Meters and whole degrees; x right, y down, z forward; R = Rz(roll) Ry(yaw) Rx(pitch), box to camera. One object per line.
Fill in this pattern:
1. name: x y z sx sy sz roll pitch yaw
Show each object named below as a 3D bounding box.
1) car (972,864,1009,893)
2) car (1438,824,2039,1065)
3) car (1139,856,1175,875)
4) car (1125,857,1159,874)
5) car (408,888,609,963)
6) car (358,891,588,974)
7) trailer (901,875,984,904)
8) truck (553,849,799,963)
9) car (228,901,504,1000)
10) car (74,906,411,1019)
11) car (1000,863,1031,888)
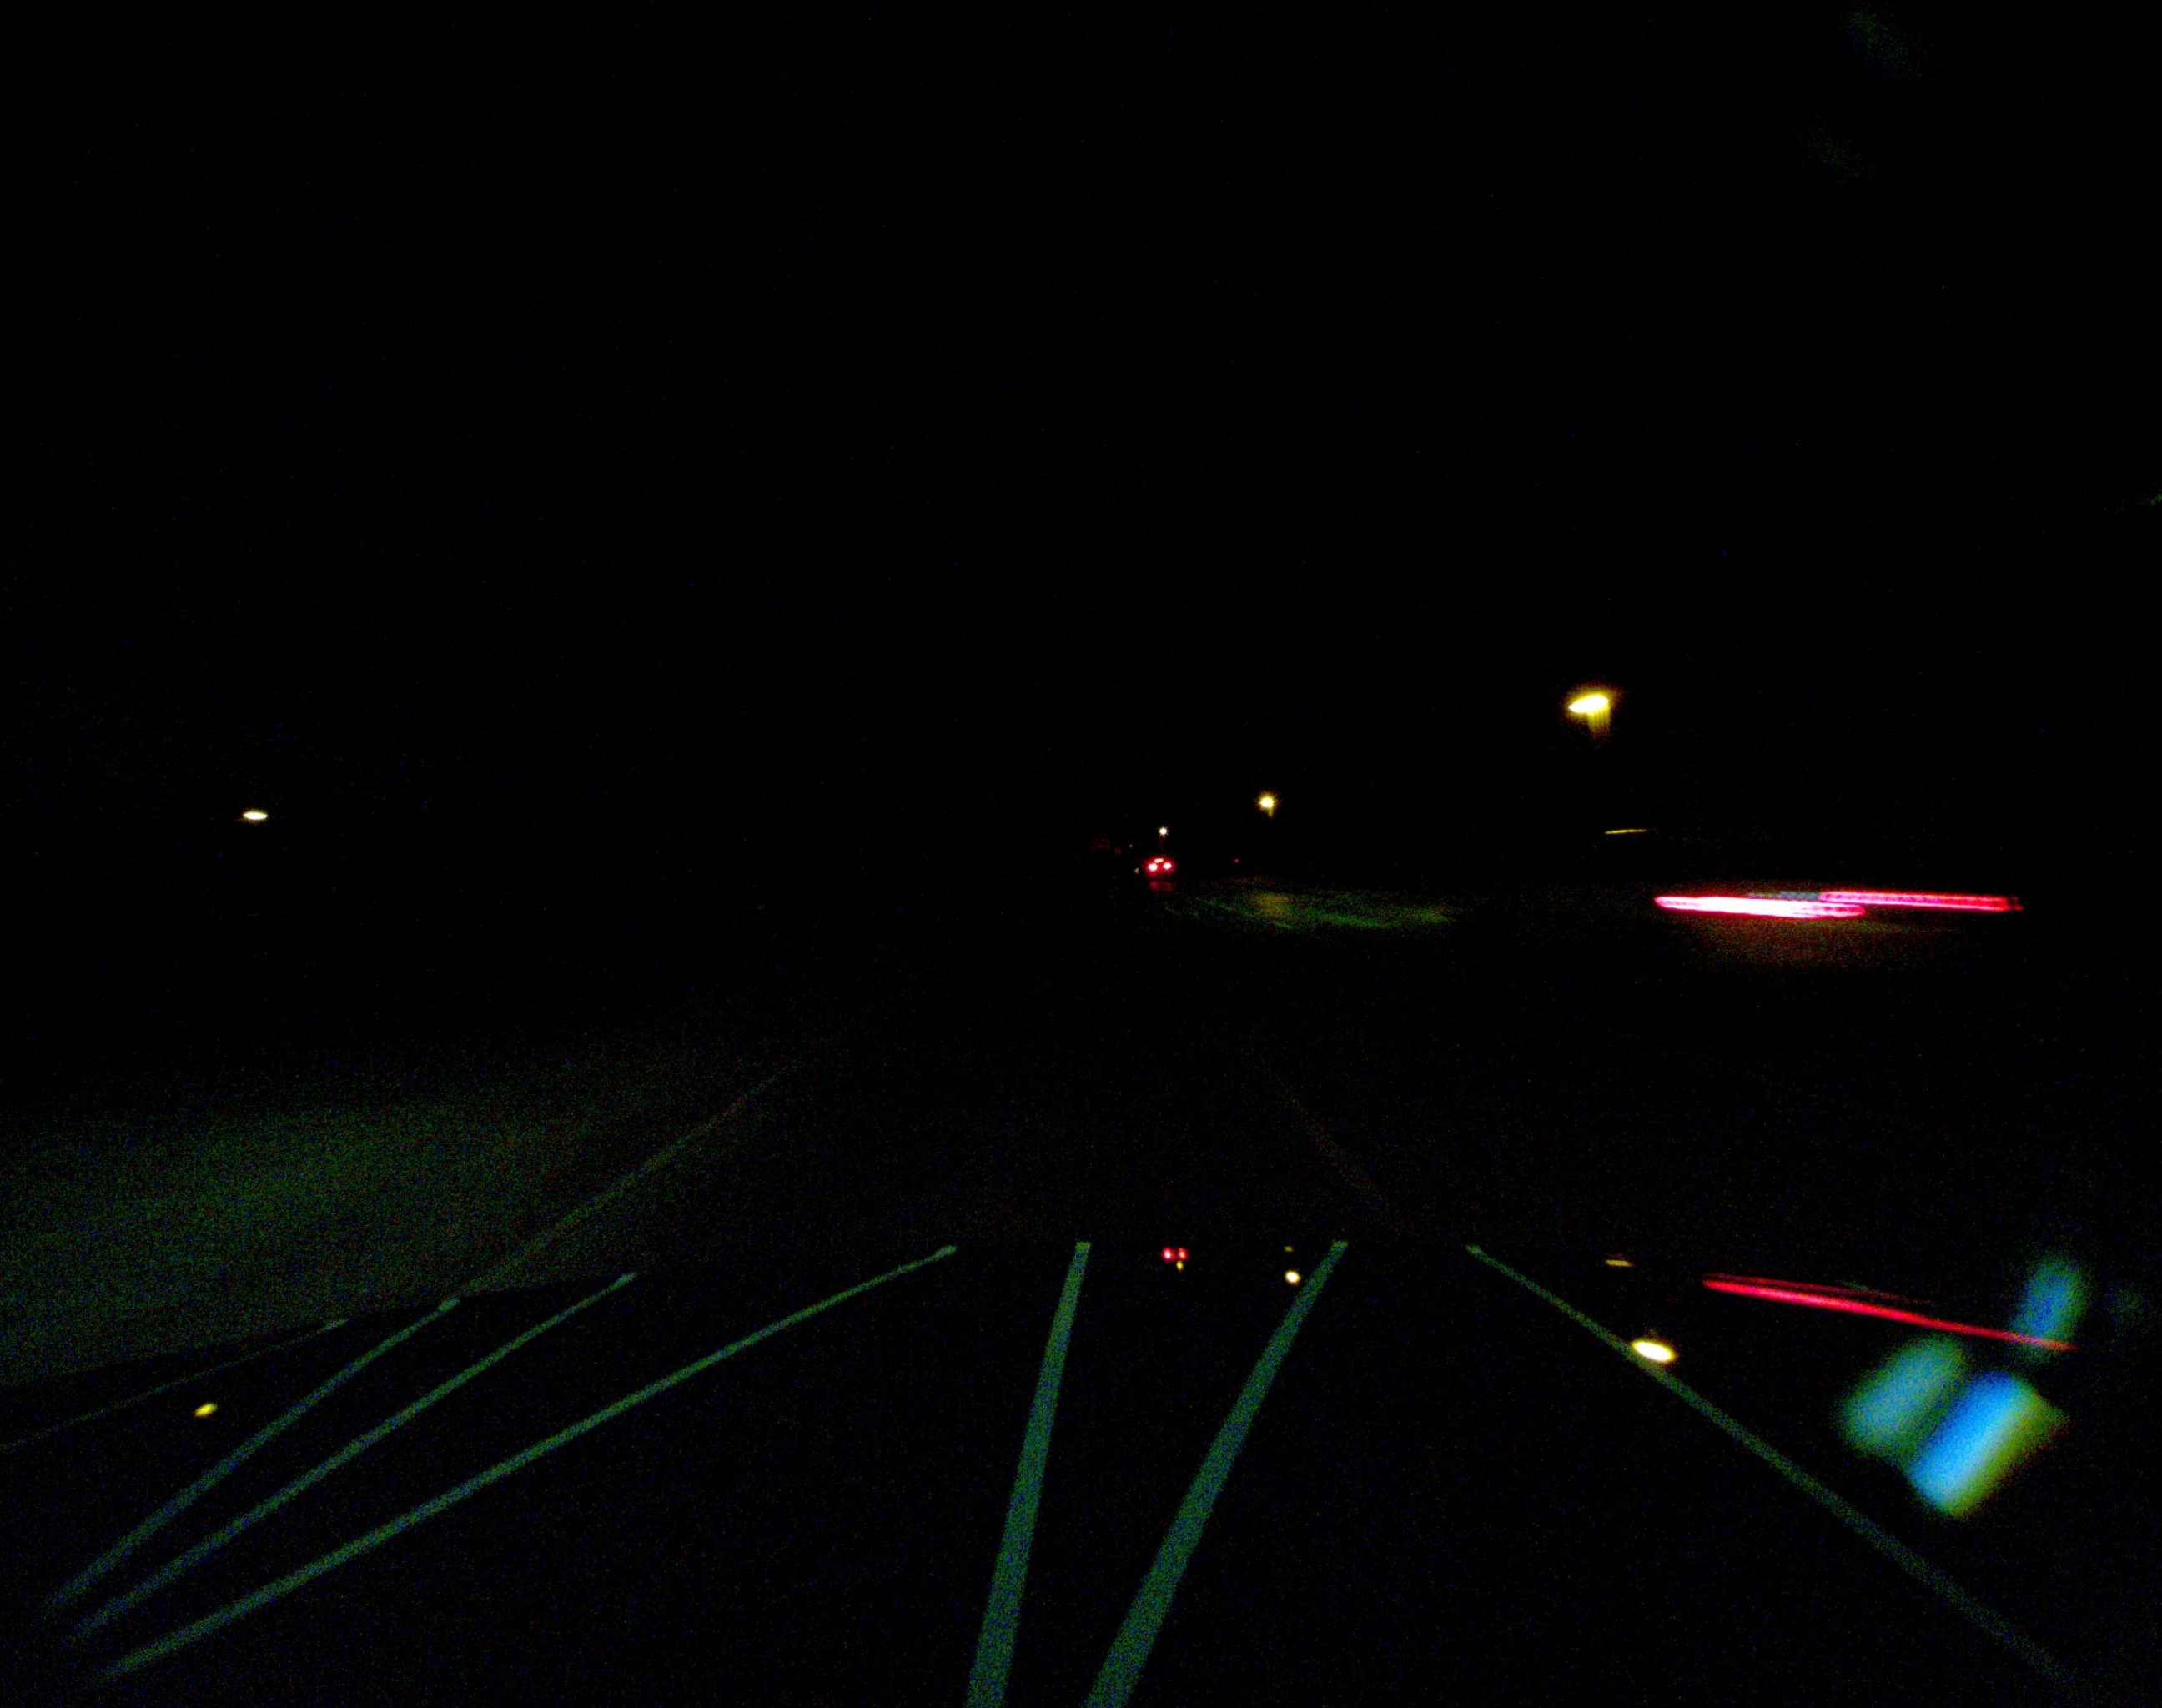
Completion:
1. car: -5.423 1.444 46.116 1.940 1.543 3.999 -4 -1 -4
2. car: 5.879 0.661 7.868 1.999 1.617 4.752 -3 0 -1
3. car: 6.314 0.945 63.449 1.854 1.436 4.914 -4 0 -7
4. car: 5.518 1.071 69.422 2.000 1.371 4.595 -4 0 -9
5. car: -15.010 1.838 20.090 3.866 1.595 1.708 -3 0 -2
6. car: -14.269 1.813 18.006 3.865 1.551 1.902 -3 0 1
7. trailer: -6.687 1.702 38.150 2.179 0.961 9.617 -5 -1 1
8. truck: -10.080 1.131 20.107 2.384 2.270 7.743 -4 0 -1
9. car: -14.499 1.918 15.581 3.866 1.586 1.708 -3 0 -2
10. car: -14.634 1.848 13.448 3.866 1.507 1.708 -3 0 -2
11. car: -4.595 1.496 53.207 1.999 1.542 4.325 -4 -1 -5
